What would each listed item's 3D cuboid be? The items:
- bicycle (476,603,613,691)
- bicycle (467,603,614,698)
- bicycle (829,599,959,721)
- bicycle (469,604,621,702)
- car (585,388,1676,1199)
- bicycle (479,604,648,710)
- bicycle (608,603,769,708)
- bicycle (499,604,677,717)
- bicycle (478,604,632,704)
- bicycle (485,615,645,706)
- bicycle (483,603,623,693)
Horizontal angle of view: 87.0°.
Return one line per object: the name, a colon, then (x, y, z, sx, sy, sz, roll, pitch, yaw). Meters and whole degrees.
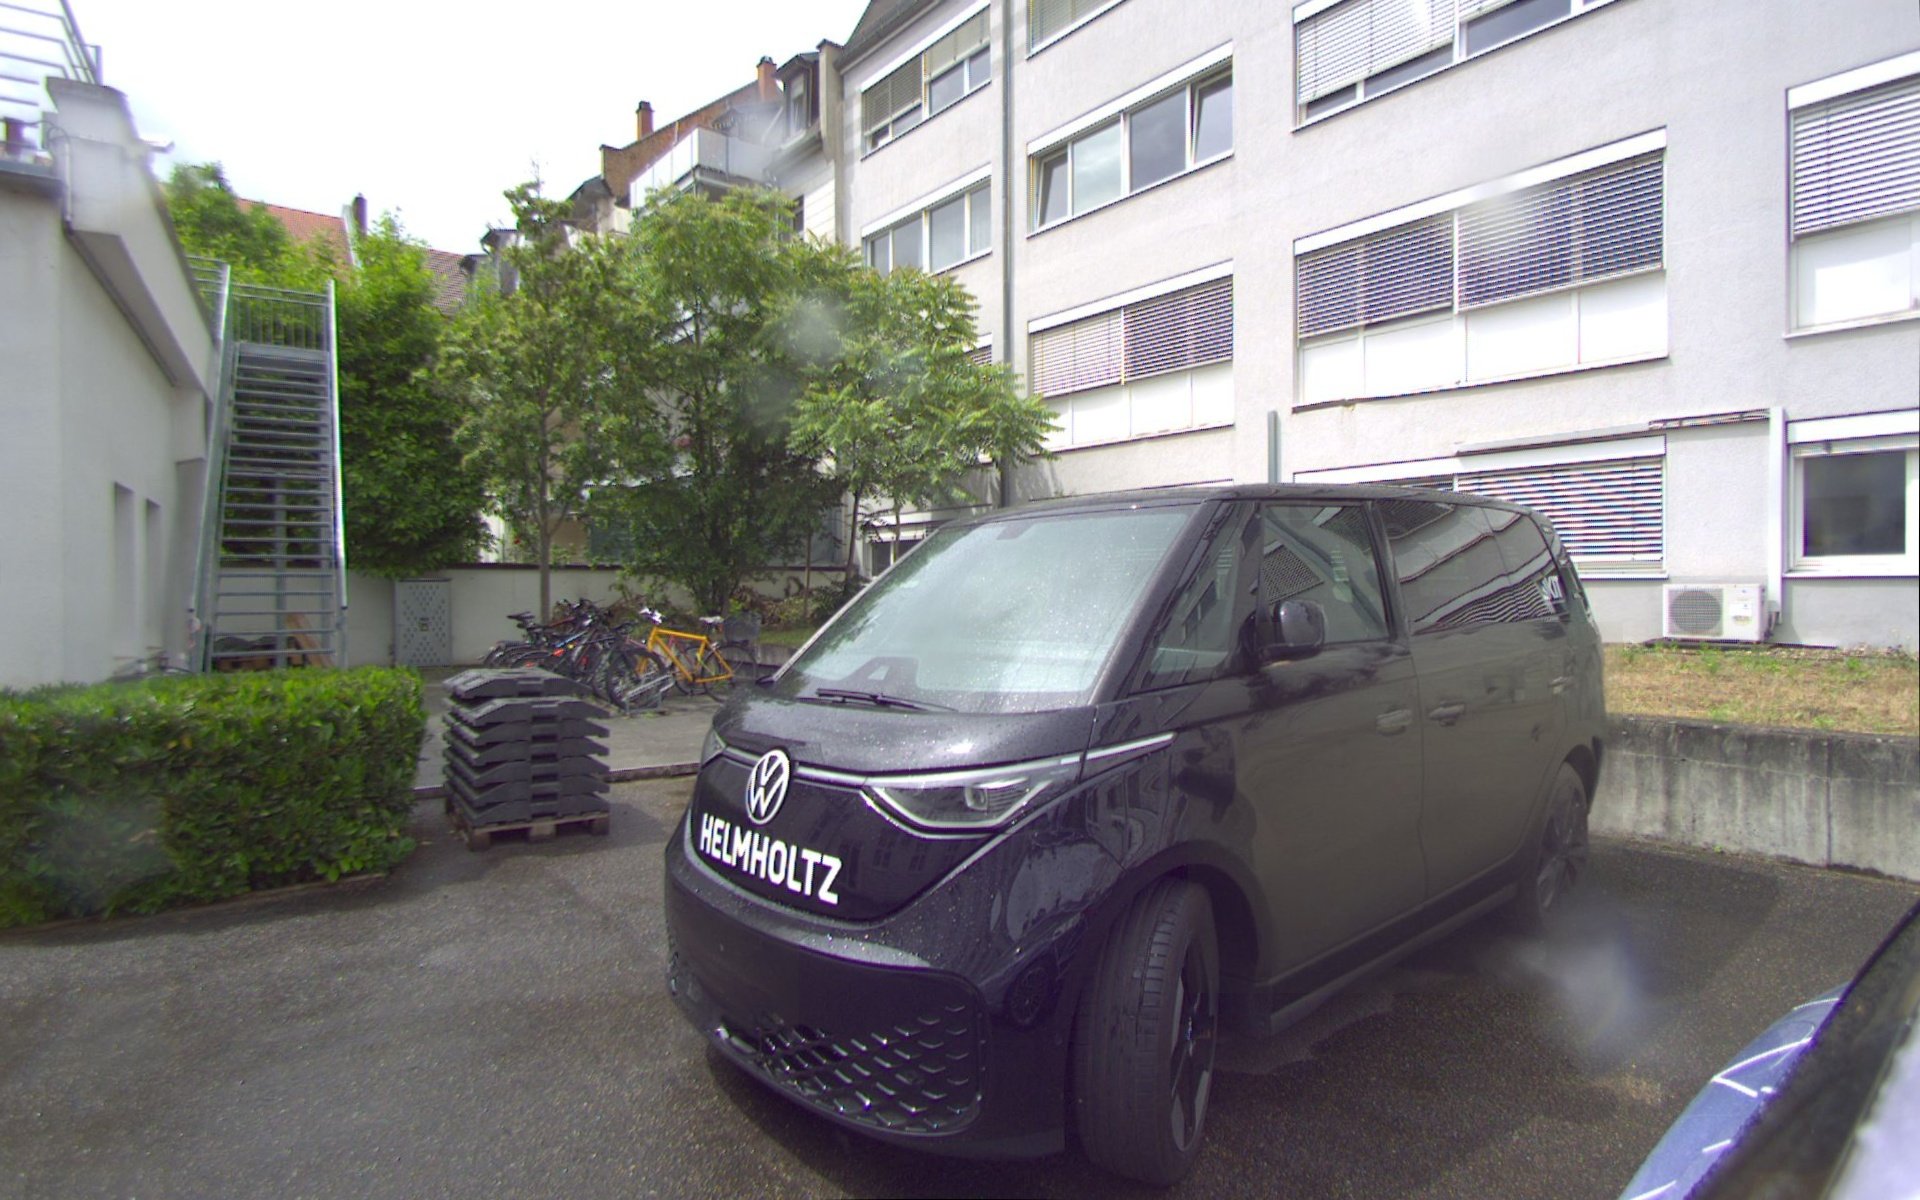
bicycle: (-5.667, 0.616, 13.867, 1.724, 1.118, 0.341, -1, 1, -40)
bicycle: (-5.354, 0.618, 12.989, 1.724, 1.118, 0.345, -1, 1, -40)
bicycle: (-0.725, 0.574, 10.559, 0.438, 1.117, 1.796, -3, 3, -36)
bicycle: (-5.117, 0.620, 12.548, 1.724, 1.118, 0.342, -1, 1, -40)
car: (1.134, 0.463, 4.233, 4.666, 1.888, 1.967, -2, 1, -41)
bicycle: (-4.499, 0.618, 11.554, 1.761, 1.118, 0.355, 0, 1, -32)
bicycle: (-3.096, 0.610, 11.640, 1.761, 1.118, 0.367, 0, 1, -32)
bicycle: (-3.993, 0.617, 10.922, 1.761, 1.118, 0.406, 0, 1, -32)
bicycle: (-4.889, 0.618, 12.290, 1.724, 1.118, 0.332, -1, 1, -40)
bicycle: (-4.664, 0.686, 12.032, 1.764, 0.979, 0.329, -1, 1, -40)
bicycle: (-5.435, 0.615, 13.591, 1.724, 1.118, 0.355, -1, 1, -40)
